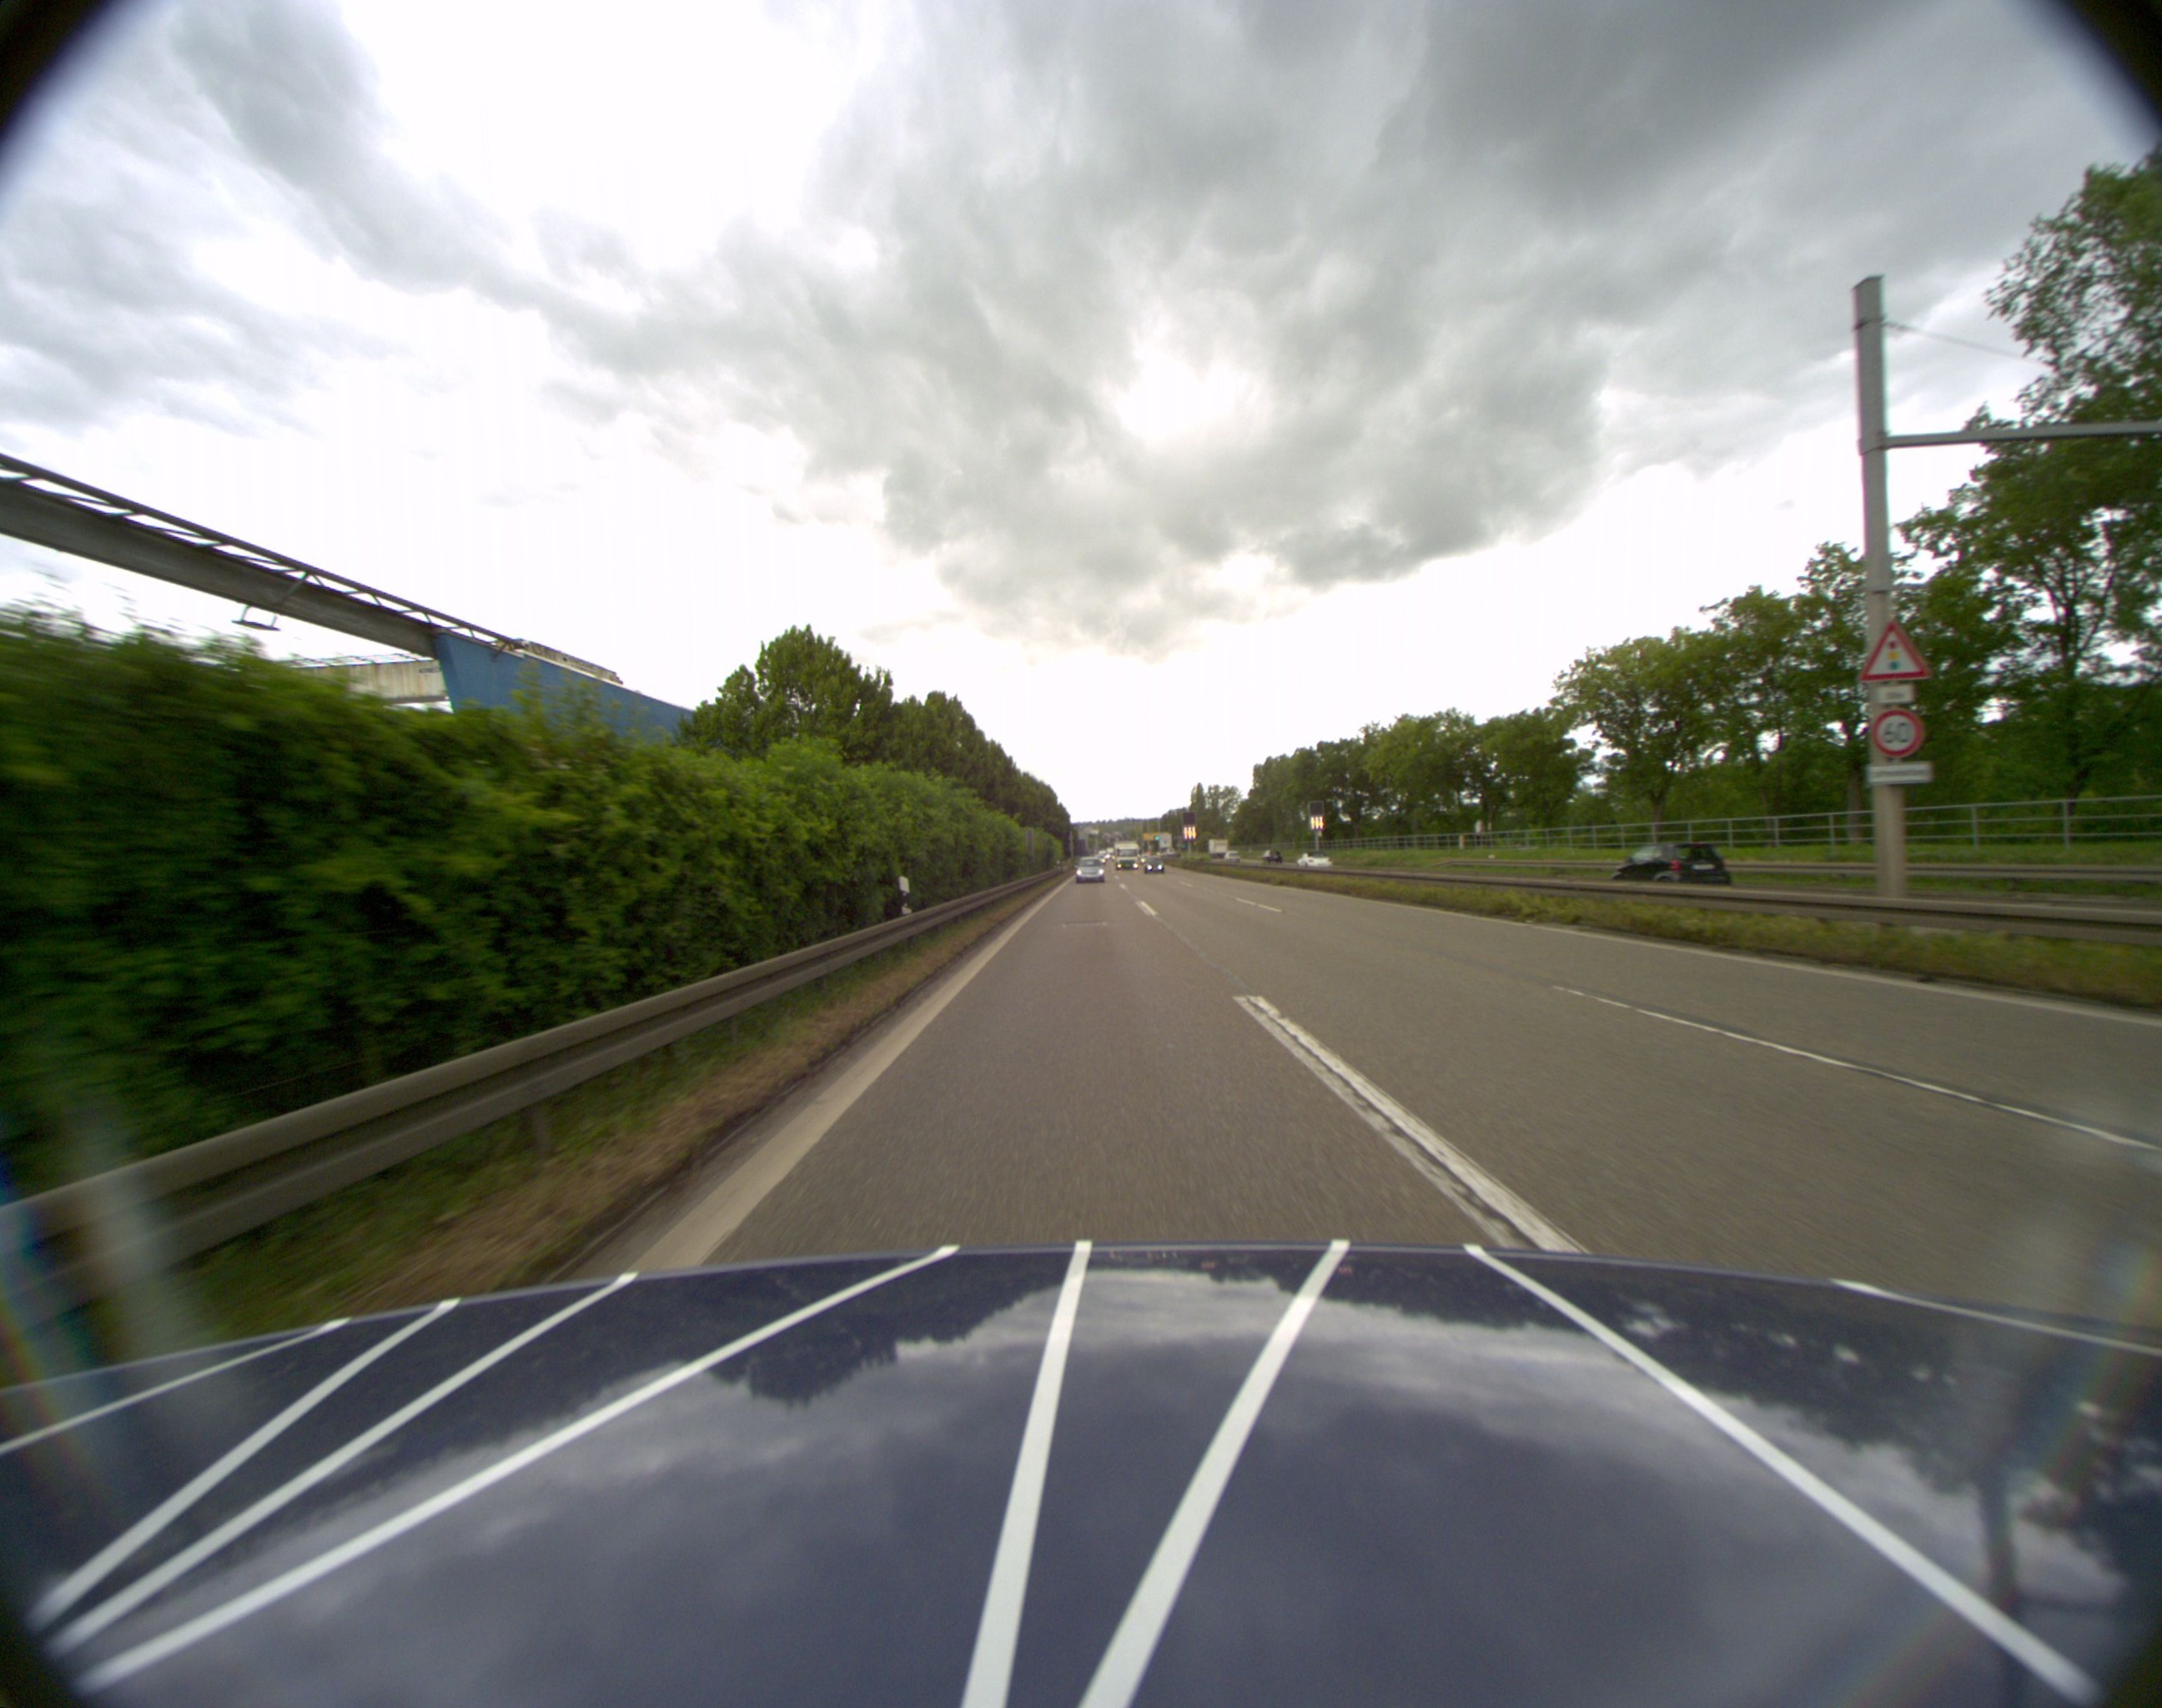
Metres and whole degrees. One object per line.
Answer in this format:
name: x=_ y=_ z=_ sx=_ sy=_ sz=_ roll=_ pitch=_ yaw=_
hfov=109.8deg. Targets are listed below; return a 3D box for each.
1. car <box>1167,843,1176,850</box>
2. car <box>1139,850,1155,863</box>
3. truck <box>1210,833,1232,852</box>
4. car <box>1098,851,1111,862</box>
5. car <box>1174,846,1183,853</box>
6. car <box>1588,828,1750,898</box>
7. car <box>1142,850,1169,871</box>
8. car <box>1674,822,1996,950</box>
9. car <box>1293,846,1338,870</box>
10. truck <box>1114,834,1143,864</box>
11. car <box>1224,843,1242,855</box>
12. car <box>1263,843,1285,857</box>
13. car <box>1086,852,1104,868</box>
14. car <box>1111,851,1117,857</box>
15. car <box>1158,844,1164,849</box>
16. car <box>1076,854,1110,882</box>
car: x=26.281 y=-2.097 z=220.179 sx=2.231 sy=1.936 sz=5.475 roll=-3 pitch=0 yaw=4
car: x=9.668 y=0.362 z=111.305 sx=1.883 sy=1.714 sz=4.146 roll=-3 pitch=0 yaw=1
truck: x=27.042 y=-2.195 z=146.967 sx=2.895 sy=3.558 sz=9.589 roll=-2 pitch=0 yaw=4
car: x=3.747 y=0.431 z=122.555 sx=1.883 sy=1.714 sz=4.146 roll=-3 pitch=0 yaw=1
car: x=25.378 y=-1.135 z=197.881 sx=1.883 sy=1.714 sz=4.148 roll=-3 pitch=0 yaw=4
car: x=16.485 y=0.224 z=21.563 sx=1.730 sy=1.764 sz=3.742 roll=-2 pitch=0 yaw=2
car: x=6.504 y=0.555 z=66.682 sx=1.883 sy=1.714 sz=4.146 roll=-3 pitch=0 yaw=1
car: x=12.253 y=0.450 z=12.746 sx=1.730 sy=1.764 sz=3.742 roll=-2 pitch=0 yaw=2
car: x=17.394 y=0.292 z=56.617 sx=1.871 sy=1.665 sz=4.719 roll=-2 pitch=0 yaw=1
truck: x=5.386 y=-0.508 z=87.773 sx=2.657 sy=3.120 sz=12.510 roll=-3 pitch=0 yaw=1
car: x=20.679 y=-0.679 z=103.608 sx=1.701 sy=1.595 sz=4.539 roll=-1 pitch=0 yaw=2
car: x=23.185 y=-0.451 z=91.428 sx=1.730 sy=1.595 sz=4.043 roll=-1 pitch=0 yaw=2
car: x=1.552 y=0.660 z=84.907 sx=1.883 sy=1.714 sz=4.146 roll=-3 pitch=0 yaw=1
car: x=10.886 y=-0.018 z=251.009 sx=1.949 sy=1.811 sz=4.000 roll=-2 pitch=0 yaw=1
car: x=26.216 y=-2.523 z=248.799 sx=1.663 sy=1.390 sz=3.990 roll=-1 pitch=-1 yaw=2
car: x=0.724 y=0.824 z=46.246 sx=1.883 sy=1.530 sz=4.147 roll=-3 pitch=0 yaw=1
